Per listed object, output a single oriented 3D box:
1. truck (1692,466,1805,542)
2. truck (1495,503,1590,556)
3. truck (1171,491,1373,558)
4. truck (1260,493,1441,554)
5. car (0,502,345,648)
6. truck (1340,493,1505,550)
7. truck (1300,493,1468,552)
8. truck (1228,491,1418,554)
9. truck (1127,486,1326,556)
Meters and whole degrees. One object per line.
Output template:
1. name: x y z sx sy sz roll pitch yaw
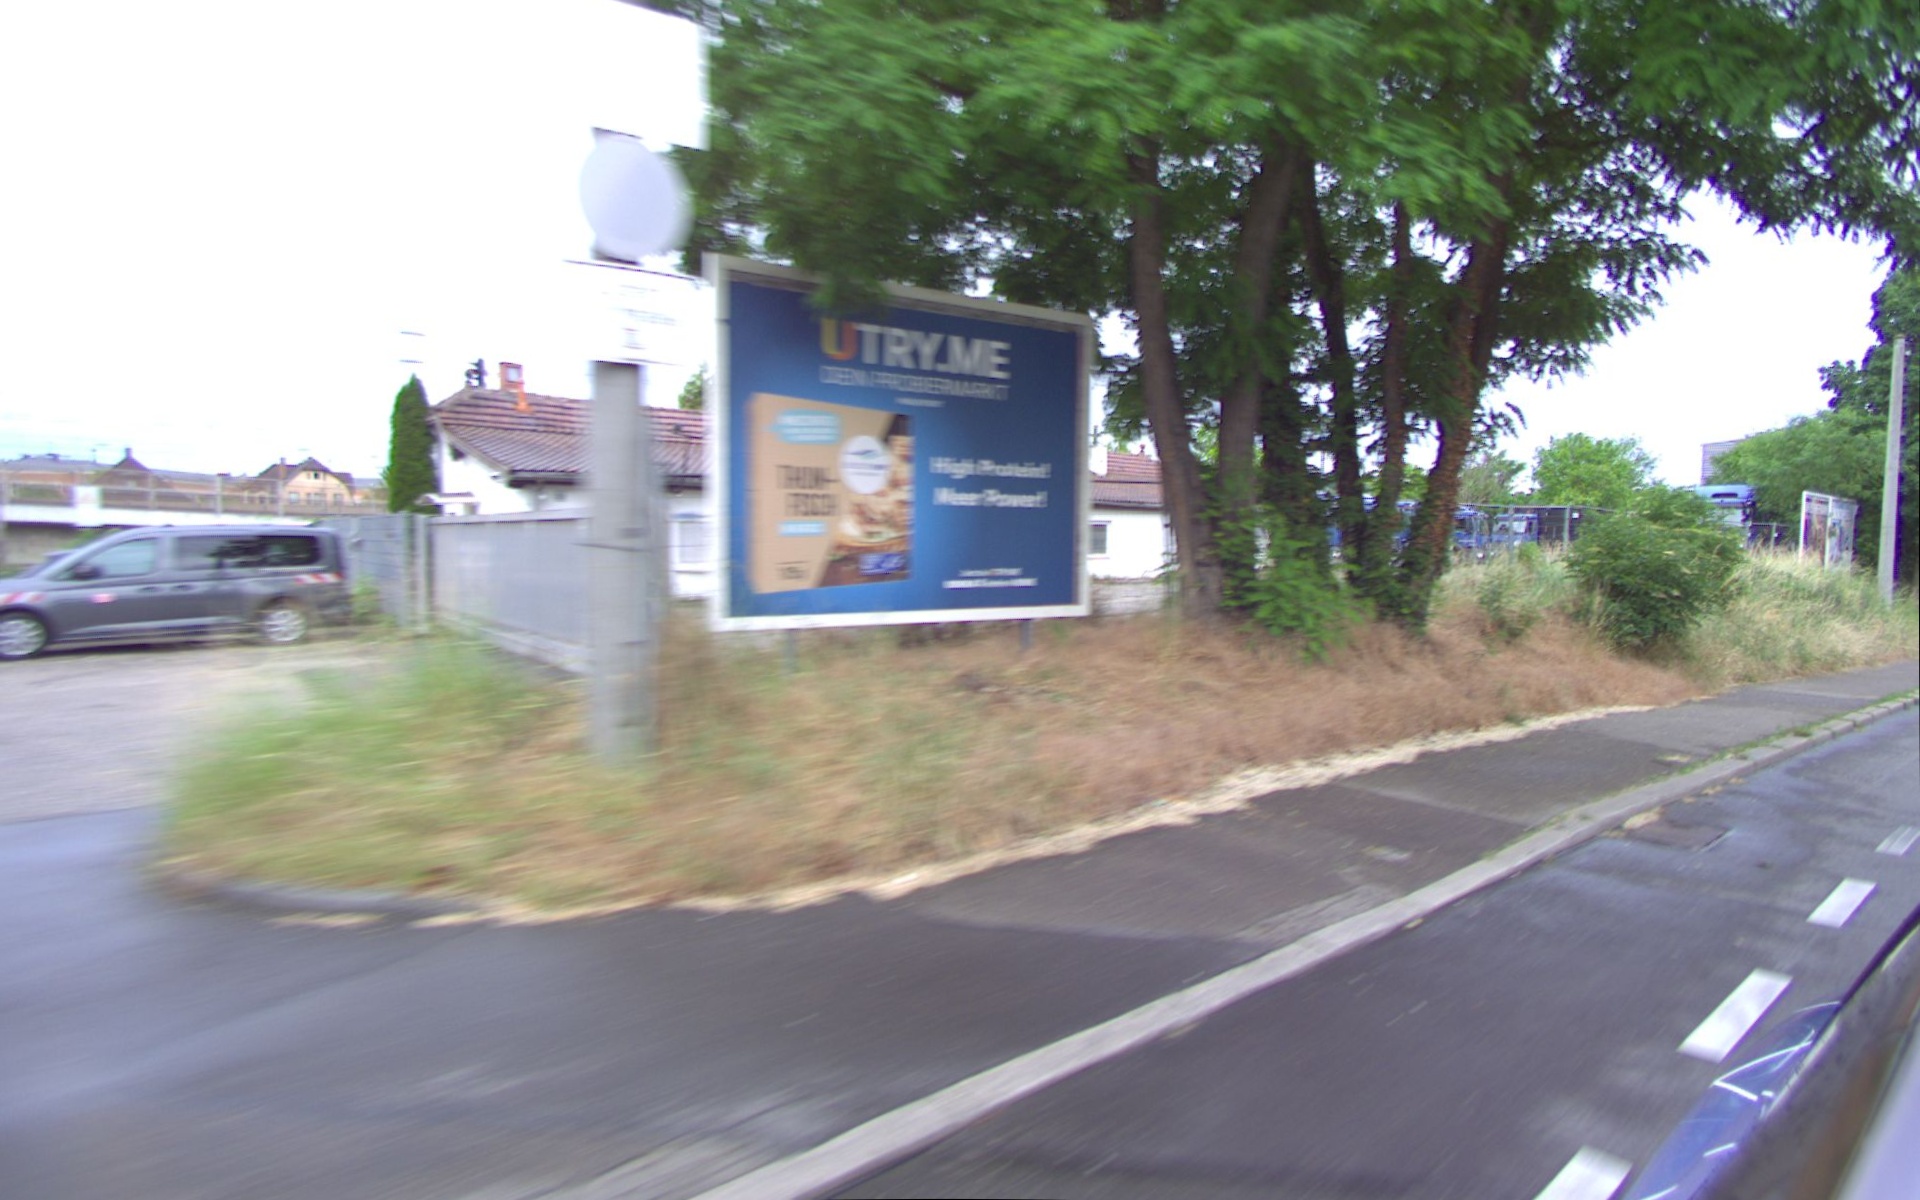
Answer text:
1. truck: 32.138 -3.808 41.180 5.946 2.684 2.288 -3 -2 -40
2. truck: 37.920 -4.511 65.715 9.473 3.235 2.255 -3 3 -40
3. truck: 13.439 -3.277 44.340 2.543 2.648 8.313 -3 4 -41
4. truck: 19.070 -3.732 49.907 2.543 2.771 8.020 -2 4 -41
5. car: -11.745 -0.420 14.698 4.573 1.881 1.785 -3 4 -41
6. truck: 24.949 -4.219 54.968 2.543 2.848 7.751 -2 4 -41
7. truck: 21.944 -3.996 52.831 2.543 2.890 7.724 -2 4 -41
8. truck: 16.642 -3.563 46.998 2.543 2.686 8.106 -3 4 -41
9. truck: 10.980 -3.256 42.507 2.587 2.649 8.016 -3 4 -41
